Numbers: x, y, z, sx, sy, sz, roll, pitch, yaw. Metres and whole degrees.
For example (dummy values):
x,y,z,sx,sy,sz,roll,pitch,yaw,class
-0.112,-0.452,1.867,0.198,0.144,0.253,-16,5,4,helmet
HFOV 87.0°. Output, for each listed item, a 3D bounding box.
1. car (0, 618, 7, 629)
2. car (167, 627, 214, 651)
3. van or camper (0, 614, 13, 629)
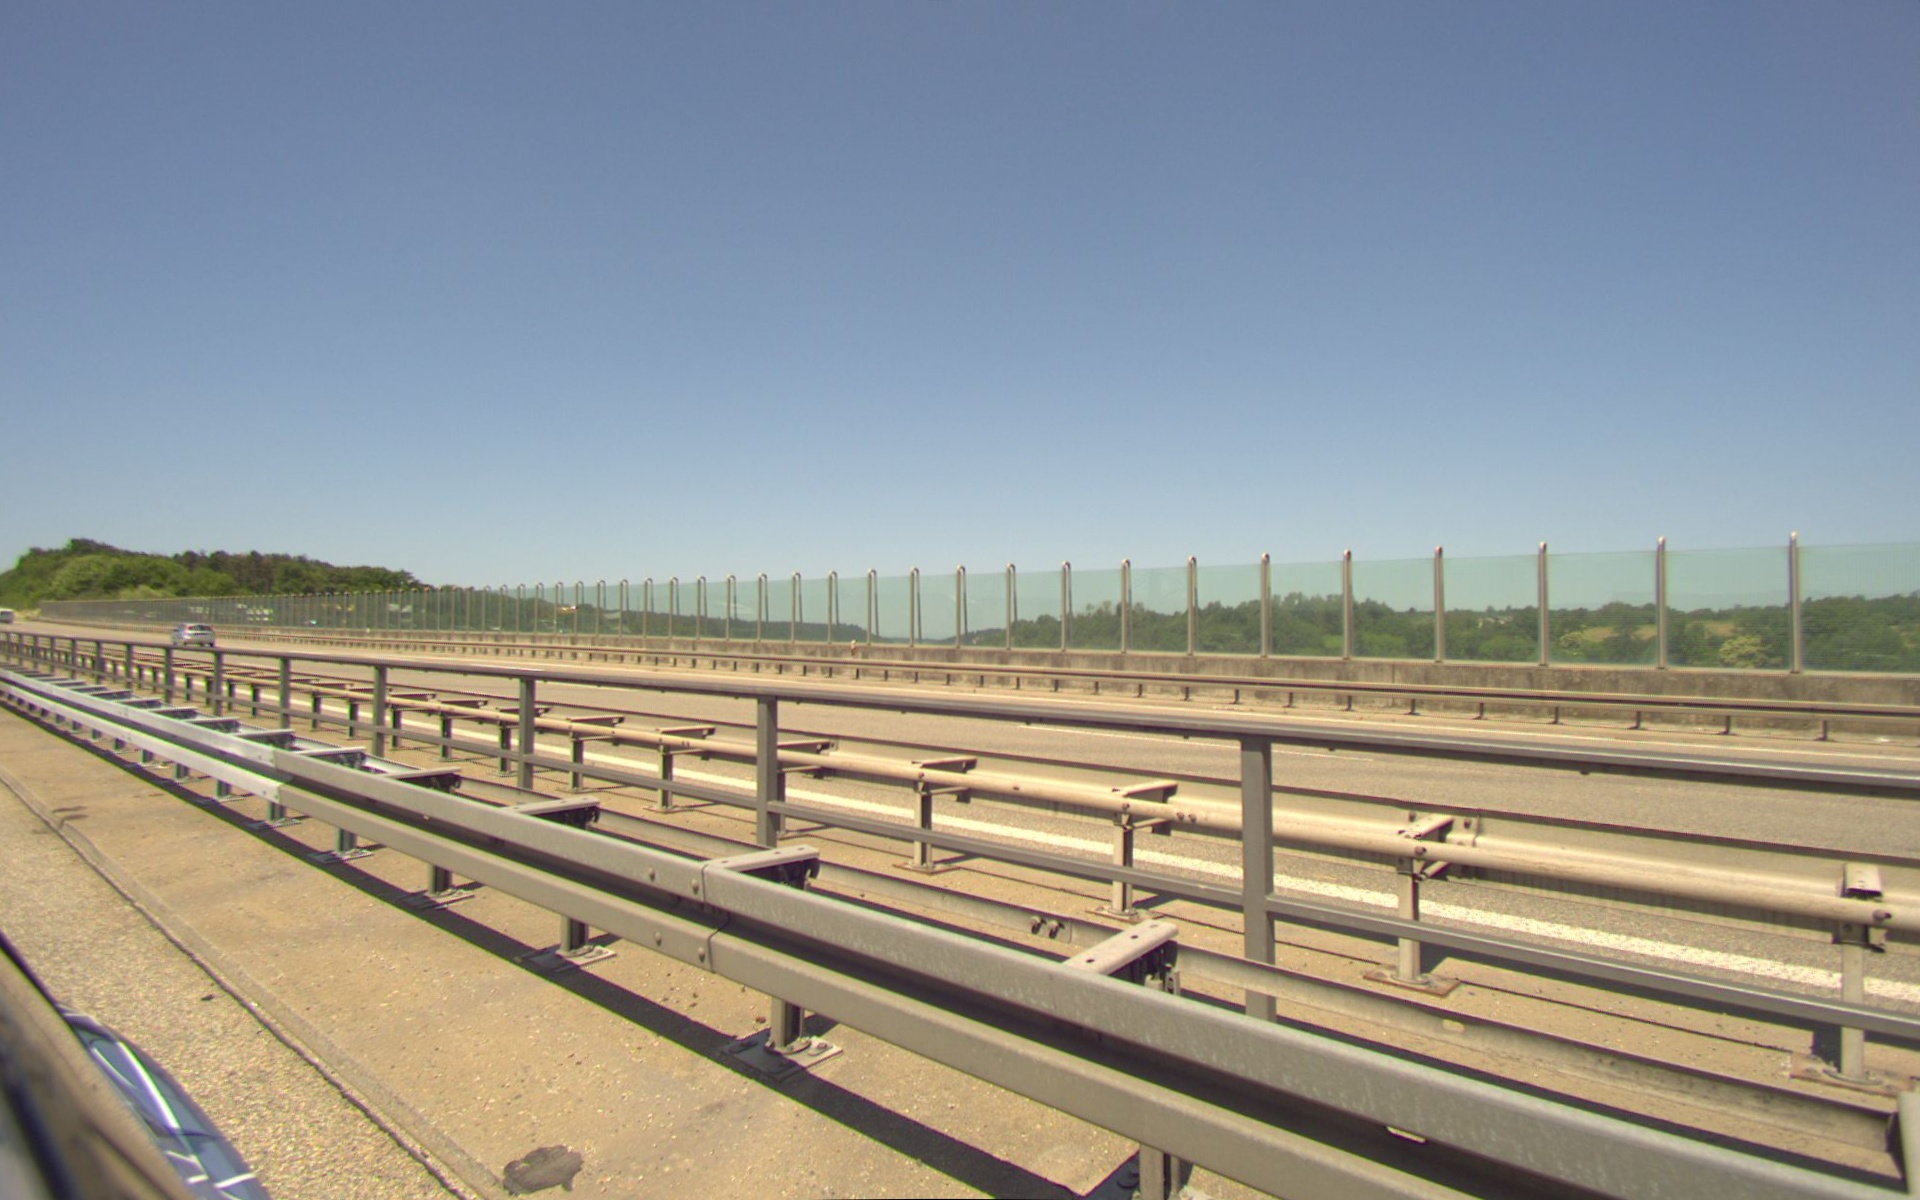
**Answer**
x,y,z,sx,sy,sz,roll,pitch,yaw,class
-145.596,3.512,152.991,4.198,1.557,1.836,0,-3,41,car
-47.767,2.428,62.825,3.675,1.405,1.587,0,-3,41,car
-141.910,3.181,149.785,5.534,2.228,1.973,0,-4,41,van or camper
